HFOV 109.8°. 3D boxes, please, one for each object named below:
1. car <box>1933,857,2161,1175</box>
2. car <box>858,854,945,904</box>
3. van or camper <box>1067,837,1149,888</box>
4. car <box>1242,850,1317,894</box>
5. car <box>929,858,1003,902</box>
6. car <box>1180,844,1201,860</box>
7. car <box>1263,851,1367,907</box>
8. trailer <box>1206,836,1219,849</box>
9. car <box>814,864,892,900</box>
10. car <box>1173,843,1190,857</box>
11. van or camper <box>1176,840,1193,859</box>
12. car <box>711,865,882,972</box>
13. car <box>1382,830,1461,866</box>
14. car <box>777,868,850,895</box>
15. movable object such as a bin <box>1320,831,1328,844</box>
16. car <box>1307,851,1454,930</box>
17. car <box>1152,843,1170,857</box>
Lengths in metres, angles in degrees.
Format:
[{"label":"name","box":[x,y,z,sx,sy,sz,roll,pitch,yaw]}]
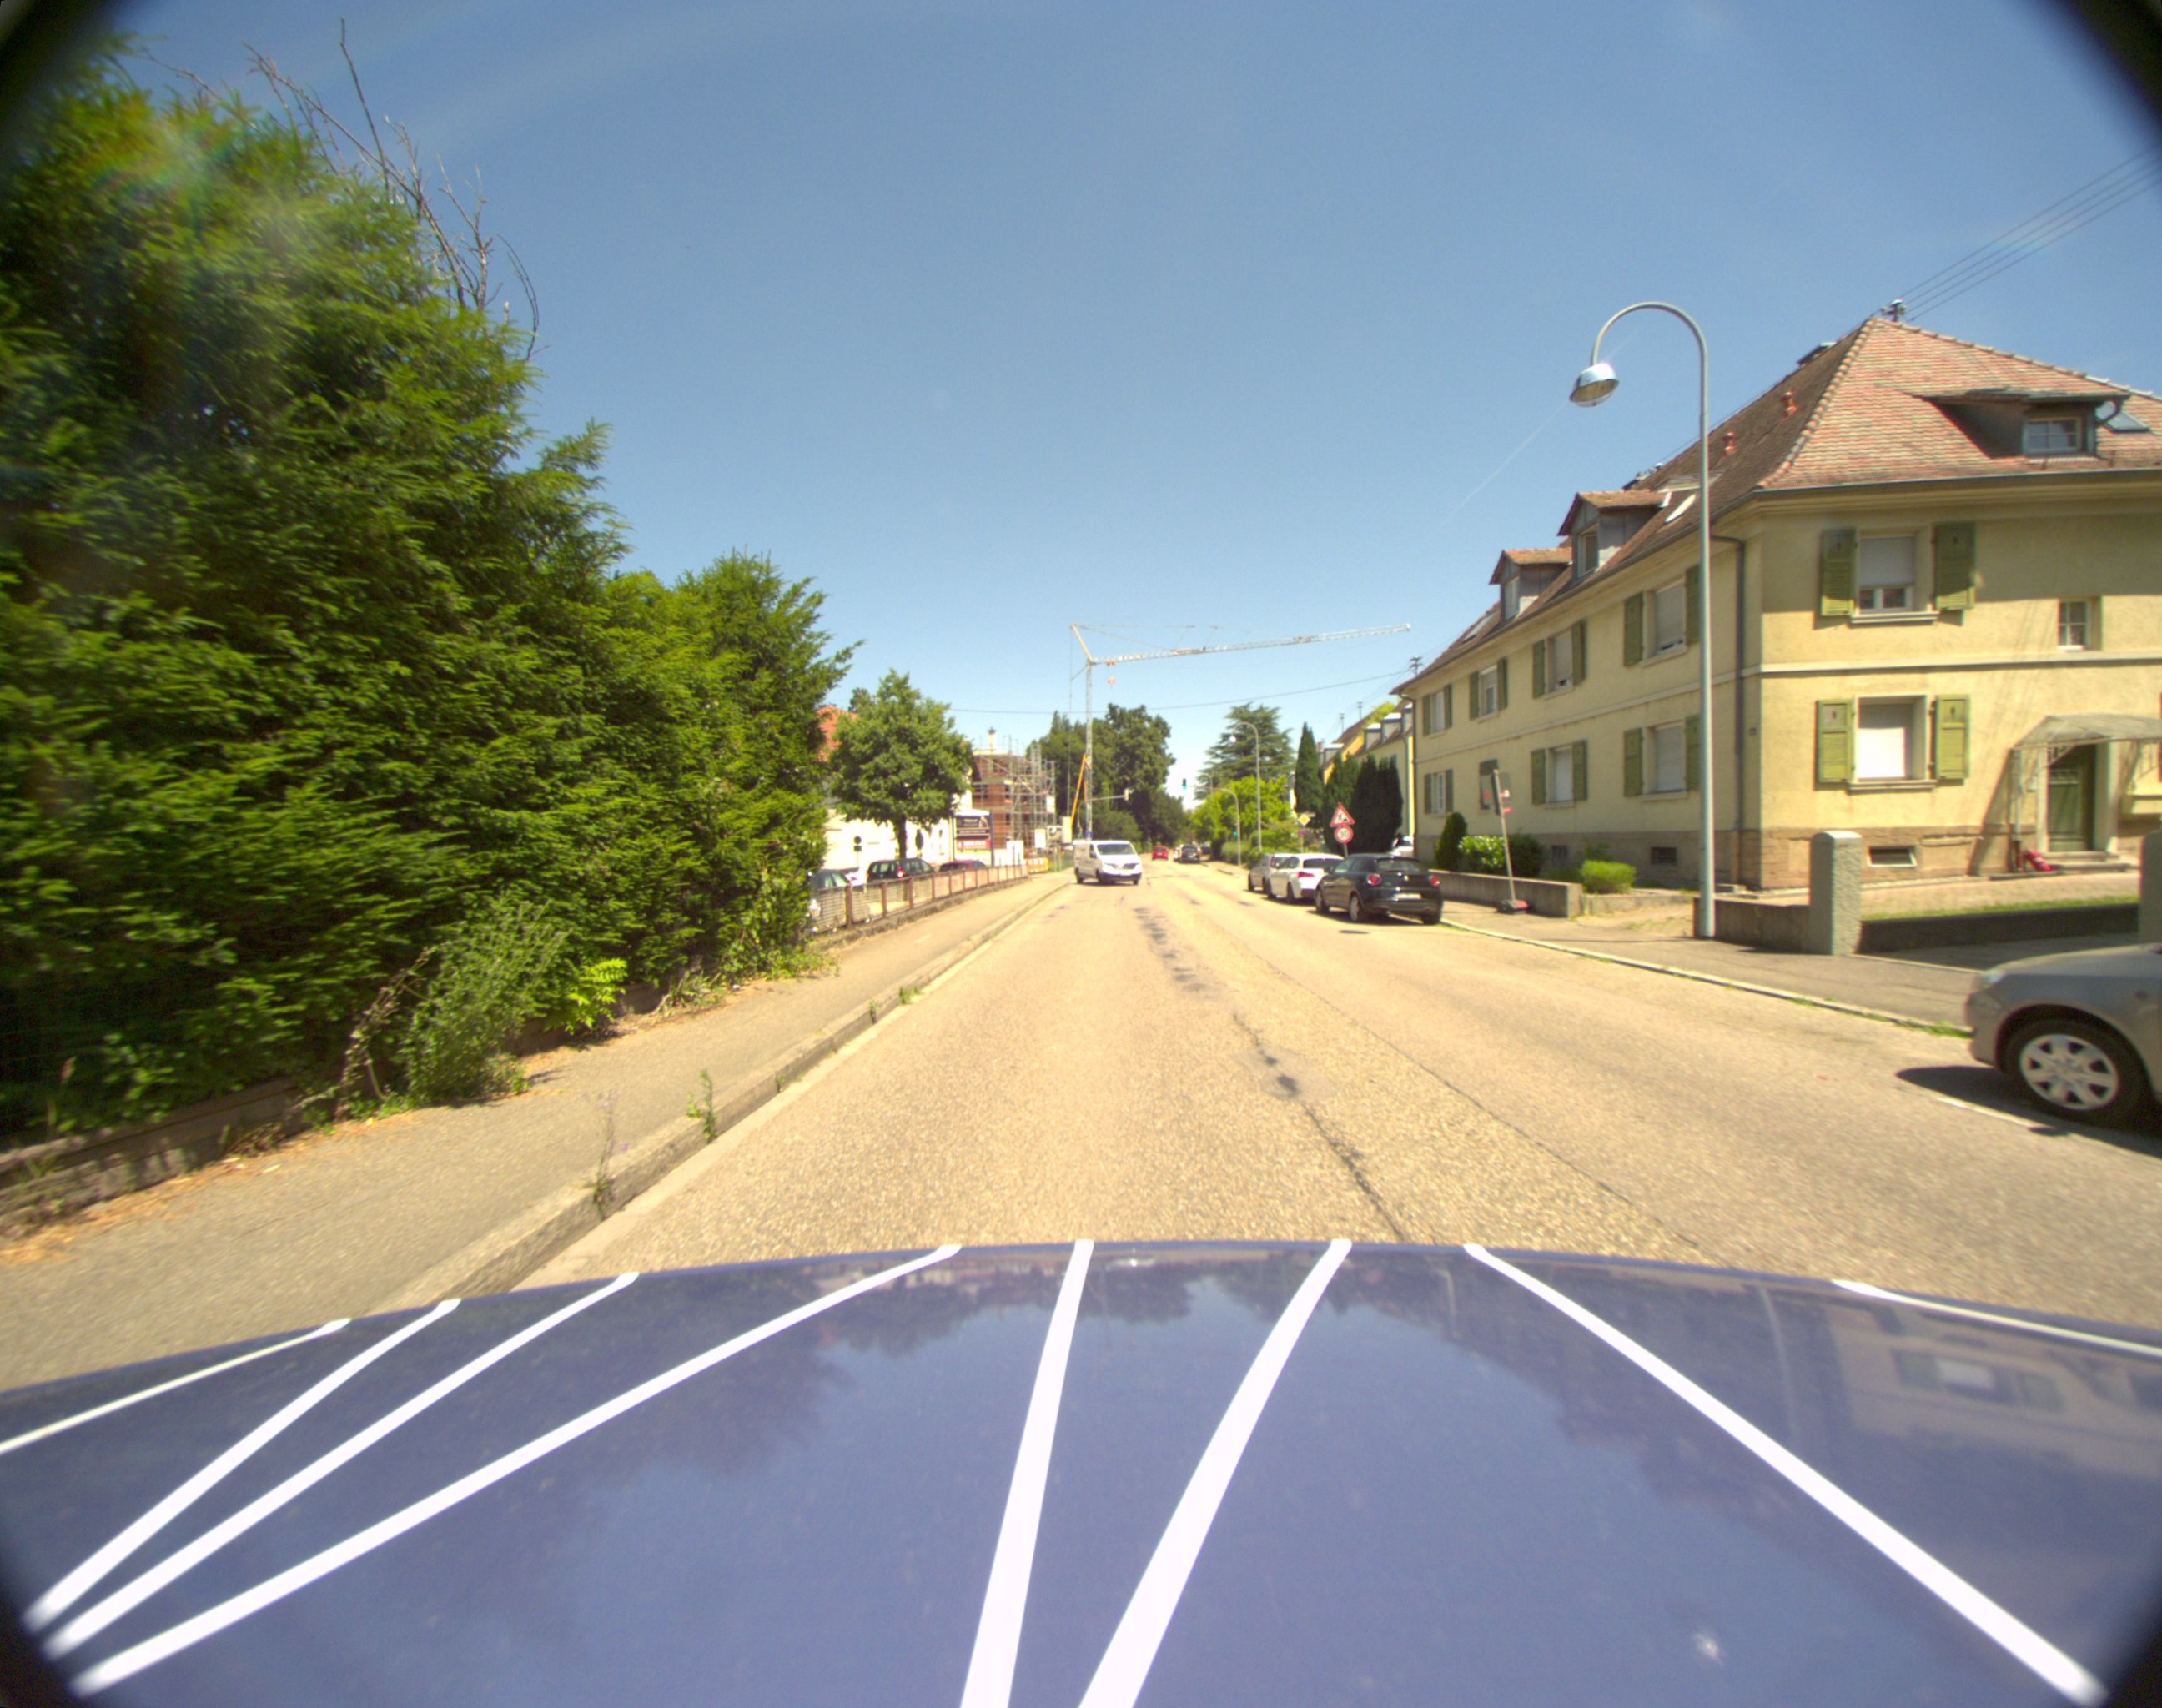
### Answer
[{"label":"car","box":[6.039,0.808,2.603,1.691,1.516,4.062,1,1,1]},{"label":"car","box":[-7.142,0.948,30.776,1.715,1.656,4.462,-3,1,10]},{"label":"van or camper","box":[1.130,0.310,34.897,2.001,1.968,5.353,-5,2,-17]},{"label":"car","box":[7.057,0.586,27.333,1.763,1.439,3.924,0,1,1]},{"label":"car","box":[-4.503,1.001,30.406,1.714,1.515,3.842,-1,1,10]},{"label":"car","box":[10.139,-0.190,70.702,1.684,1.404,3.927,0,1,5]},{"label":"car","box":[6.648,0.658,22.043,1.799,1.394,4.218,0,1,1]},{"label":"trailer","box":[22.435,-1.977,129.731,1.816,2.022,4.003,1,2,14]},{"label":"car","box":[-9.388,1.126,31.528,1.715,1.263,3.386,-2,1,9]},{"label":"car","box":[10.775,-0.470,81.254,1.684,1.433,4.249,0,1,9]},{"label":"van or camper","box":[10.267,-0.495,75.514,1.684,1.794,3.986,0,1,7]},{"label":"car","box":[-5.021,1.063,13.970,1.635,1.451,3.556,-5,1,1]},{"label":"car","box":[17.106,-0.339,38.347,3.208,1.448,1.735,-6,2,10]},{"label":"car","box":[-17.030,1.762,48.467,3.890,1.435,1.817,-4,1,11]},{"label":"movable object such as a bin","box":[22.684,-1.504,70.924,0.622,1.190,0.674,-1,2,7]},{"label":"car","box":[6.469,0.712,16.943,1.720,1.477,4.076,0,1,1]},{"label":"car","box":[9.023,-0.447,86.272,1.818,1.557,3.696,-1,1,3]}]
